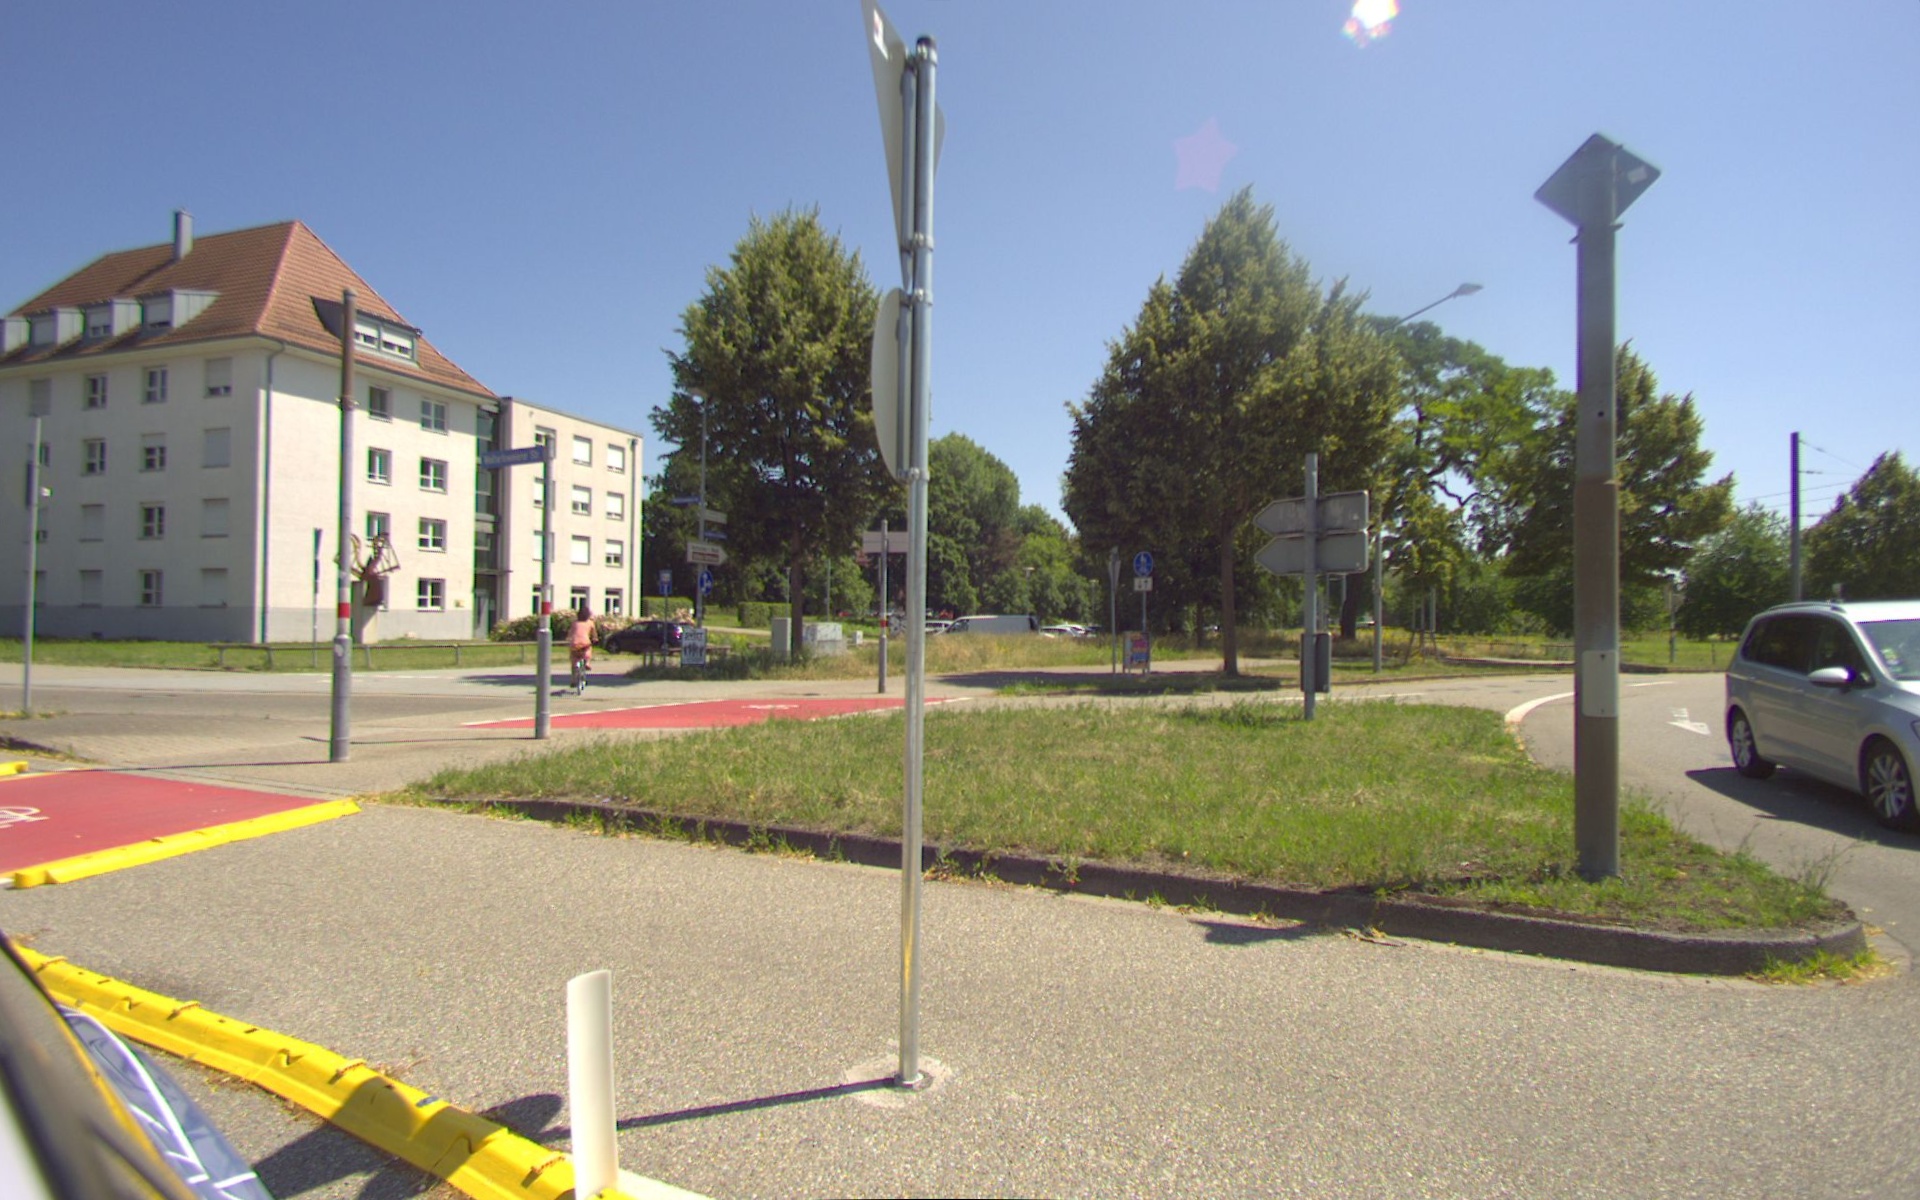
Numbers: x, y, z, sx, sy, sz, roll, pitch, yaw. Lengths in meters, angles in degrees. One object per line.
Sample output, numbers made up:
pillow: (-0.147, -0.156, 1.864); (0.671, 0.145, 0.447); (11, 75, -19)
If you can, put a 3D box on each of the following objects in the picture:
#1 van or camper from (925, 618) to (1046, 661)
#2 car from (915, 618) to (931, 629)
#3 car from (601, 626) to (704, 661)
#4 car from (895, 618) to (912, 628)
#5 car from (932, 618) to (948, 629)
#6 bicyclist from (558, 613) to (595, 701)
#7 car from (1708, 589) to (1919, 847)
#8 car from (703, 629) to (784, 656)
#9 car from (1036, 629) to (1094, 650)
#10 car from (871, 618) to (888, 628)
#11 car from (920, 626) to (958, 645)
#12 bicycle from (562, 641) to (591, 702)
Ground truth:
van or camper: (1.162, 1.801, 46.628); (5.232, 1.871, 1.987); (0, -2, 20)
car: (-5.047, 3.198, 138.155); (1.465, 1.427, 3.013); (0, -1, 15)
car: (-12.480, 1.760, 41.113); (3.780, 1.337, 1.648); (0, -2, 21)
car: (-7.743, 3.189, 139.264); (1.465, 1.427, 3.013); (0, -1, 15)
car: (-2.734, 3.197, 137.347); (1.465, 1.427, 3.013); (0, -1, 15)
bicyclist: (-7.534, 1.113, 19.917); (0.635, 1.677, 0.712); (-1, -3, -18)
car: (7.750, 0.773, 8.027); (1.795, 1.661, 4.569); (-2, -2, 23)
car: (-10.009, 1.948, 46.754); (3.488, 1.227, 1.347); (0, -2, 21)
car: (6.519, 2.436, 62.800); (3.366, 1.291, 1.344); (0, -2, 28)
car: (-11.036, 3.175, 139.272); (1.465, 1.427, 3.013); (0, -1, 15)
car: (-1.537, 2.556, 73.166); (2.516, 1.368, 1.074); (0, -2, 27)
bicycle: (-7.499, 1.370, 19.813); (0.432, 1.066, 2.095); (-1, -1, -19)
